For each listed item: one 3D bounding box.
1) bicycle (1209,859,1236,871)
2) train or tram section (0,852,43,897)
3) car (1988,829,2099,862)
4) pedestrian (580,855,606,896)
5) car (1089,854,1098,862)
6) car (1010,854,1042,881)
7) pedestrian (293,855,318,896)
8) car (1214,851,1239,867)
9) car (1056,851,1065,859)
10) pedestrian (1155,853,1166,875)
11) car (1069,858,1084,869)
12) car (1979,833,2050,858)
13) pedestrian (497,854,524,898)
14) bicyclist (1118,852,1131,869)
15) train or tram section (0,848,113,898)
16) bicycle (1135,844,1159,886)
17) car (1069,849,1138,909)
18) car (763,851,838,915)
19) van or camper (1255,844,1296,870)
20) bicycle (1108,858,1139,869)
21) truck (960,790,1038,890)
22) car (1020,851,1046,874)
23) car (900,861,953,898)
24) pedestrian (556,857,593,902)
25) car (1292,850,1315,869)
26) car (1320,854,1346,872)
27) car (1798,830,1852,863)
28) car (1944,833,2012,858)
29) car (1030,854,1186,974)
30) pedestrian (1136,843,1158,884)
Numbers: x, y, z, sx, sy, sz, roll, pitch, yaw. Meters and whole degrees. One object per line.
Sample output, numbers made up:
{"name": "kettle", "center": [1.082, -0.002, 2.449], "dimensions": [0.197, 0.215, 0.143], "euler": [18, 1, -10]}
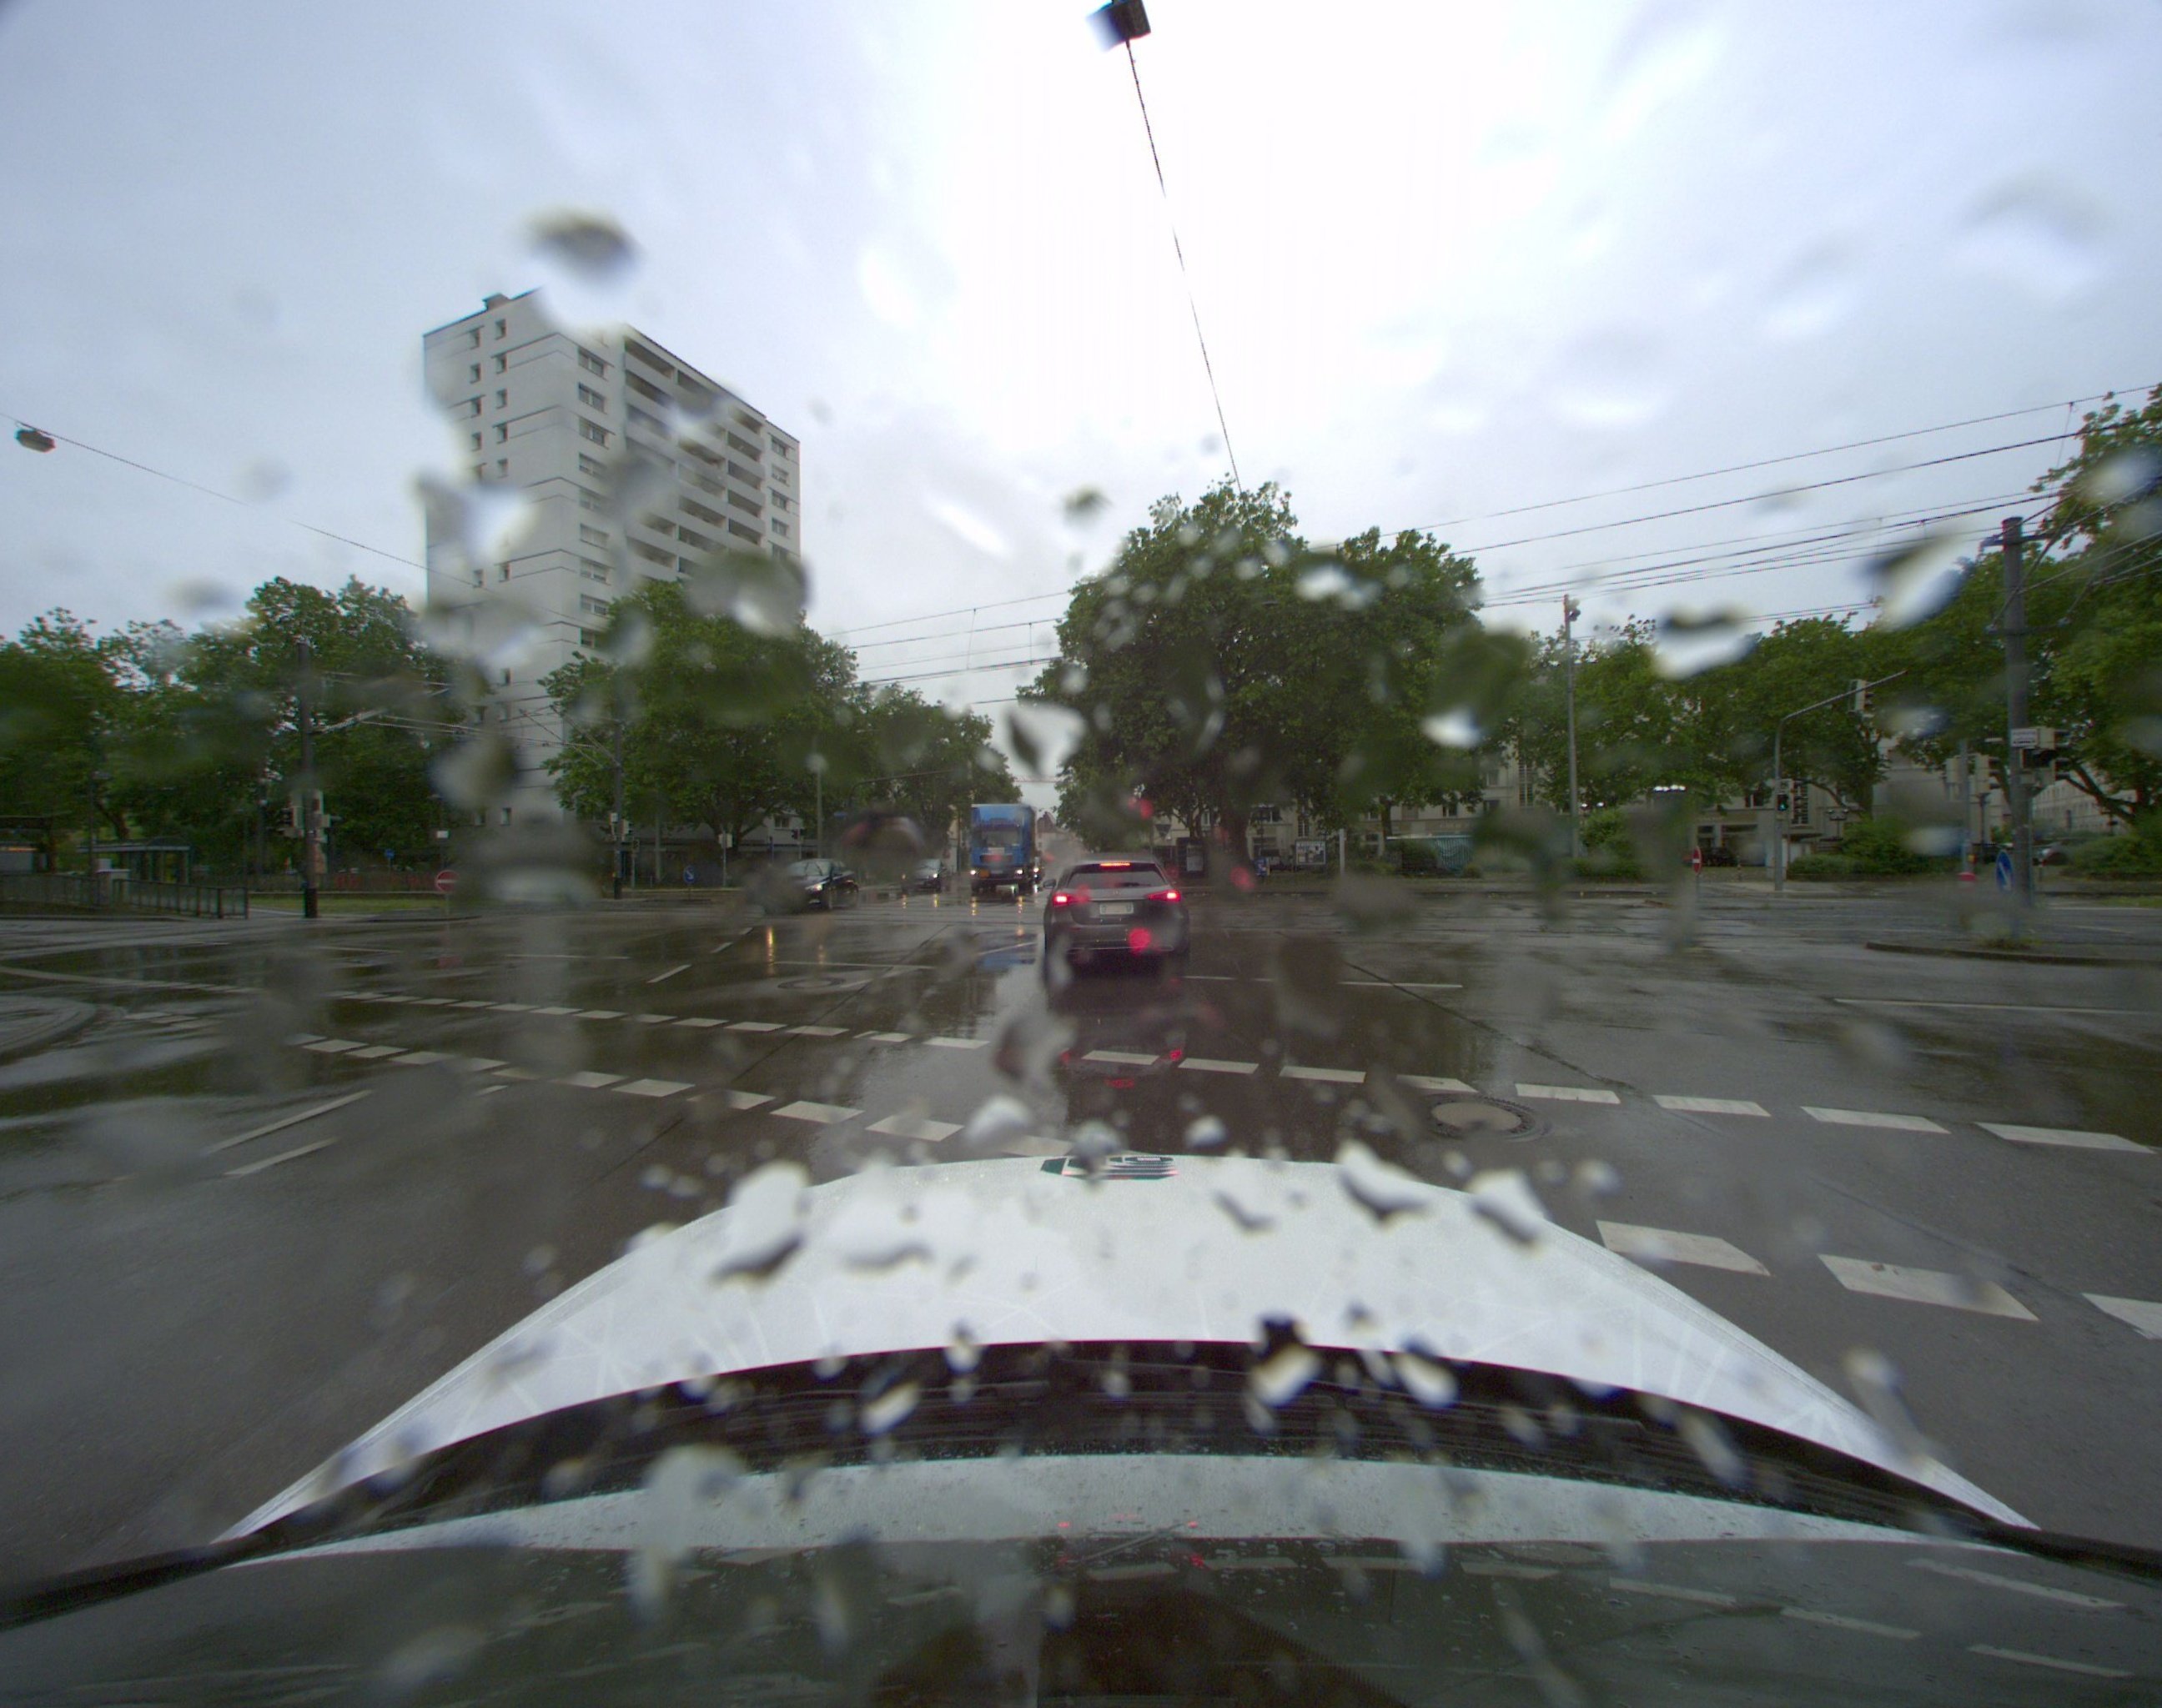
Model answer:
{"name": "bicycle", "center": [12.298, 0.954, 70.614], "dimensions": [2.227, 0.968, 0.588], "euler": [-1, -1, 21]}
{"name": "train or tram section", "center": [-87.972, 1.707, 65.084], "dimensions": [11.438, 3.504, 3.089], "euler": [-1, -1, 22]}
{"name": "car", "center": [51.233, -0.415, 43.469], "dimensions": [1.977, 1.618, 4.018], "euler": [-2, -1, 18]}
{"name": "pedestrian", "center": [-20.005, 0.881, 33.403], "dimensions": [0.819, 1.648, 0.787], "euler": [-2, -1, -27]}
{"name": "car", "center": [2.842, 0.911, 184.618], "dimensions": [2.038, 1.836, 4.795], "euler": [-1, -1, 3]}
{"name": "car", "center": [-3.446, 0.822, 51.731], "dimensions": [1.737, 1.604, 3.998], "euler": [-1, 0, -1]}
{"name": "pedestrian", "center": [-39.538, 1.104, 41.520], "dimensions": [0.694, 2.077, 0.640], "euler": [-1, 0, 17]}
{"name": "car", "center": [13.501, 0.452, 75.345], "dimensions": [1.568, 1.336, 3.279], "euler": [-2, -3, 23]}
{"name": "car", "center": [-4.833, 0.185, 191.975], "dimensions": [1.882, 1.836, 4.002], "euler": [-1, -1, 3]}
{"name": "pedestrian", "center": [6.301, 0.805, 64.593], "dimensions": [0.716, 1.669, 0.663], "euler": [-1, -1, -11]}
{"name": "car", "center": [-0.662, 1.355, 116.933], "dimensions": [1.989, 1.574, 3.996], "euler": [-1, -1, -2]}
{"name": "car", "center": [64.632, -0.564, 56.449], "dimensions": [1.695, 1.618, 4.022], "euler": [0, -1, 24]}
{"name": "pedestrian", "center": [-24.630, 0.936, 35.158], "dimensions": [0.671, 1.838, 0.643], "euler": [-2, -1, 21]}
{"name": "bicyclist", "center": [4.792, 0.738, 89.963], "dimensions": [0.941, 1.868, 1.135], "euler": [-1, -2, -20]}
{"name": "train or tram section", "center": [-77.364, 1.477, 60.814], "dimensions": [11.438, 3.504, 3.089], "euler": [-1, -1, 22]}
{"name": "bicycle", "center": [2.343, 0.380, 28.862], "dimensions": [0.745, 1.377, 2.711], "euler": [-2, 0, 6]}
{"name": "car", "center": [0.511, 0.610, 21.555], "dimensions": [1.603, 1.372, 3.998], "euler": [-2, 0, -1]}
{"name": "car", "center": [-7.675, 0.740, 22.347], "dimensions": [1.749, 1.546, 3.754], "euler": [-2, 0, -19]}
{"name": "van or camper", "center": [17.727, 0.305, 74.086], "dimensions": [2.374, 2.231, 5.462], "euler": [-2, -1, 26]}
{"name": "bicycle", "center": [4.677, 1.007, 89.951], "dimensions": [3.216, 1.112, 1.047], "euler": [-1, -2, -20]}
{"name": "truck", "center": [-3.653, -0.550, 38.754], "dimensions": [2.838, 4.025, 10.308], "euler": [-2, 0, -2]}
{"name": "car", "center": [-3.810, 0.639, 65.186], "dimensions": [1.741, 1.765, 4.002], "euler": [-1, 0, 2]}
{"name": "car", "center": [-7.072, 1.133, 37.641], "dimensions": [1.722, 1.546, 4.337], "euler": [-2, 0, -2]}
{"name": "pedestrian", "center": [-19.137, 0.946, 30.775], "dimensions": [0.829, 1.648, 0.759], "euler": [-2, 0, 14]}
{"name": "car", "center": [19.929, 0.492, 72.859], "dimensions": [1.665, 1.575, 3.754], "euler": [-1, -1, 19]}
{"name": "car", "center": [22.528, 0.807, 72.733], "dimensions": [1.664, 1.432, 3.756], "euler": [-2, -3, 25]}
{"name": "car", "center": [53.704, -0.480, 58.887], "dimensions": [1.535, 2.204, 4.120], "euler": [-2, -3, 23]}
{"name": "car", "center": [61.646, -0.537, 56.038], "dimensions": [1.695, 1.618, 4.022], "euler": [0, -1, 24]}
{"name": "car", "center": [0.277, 0.691, 11.085], "dimensions": [1.786, 1.372, 3.505], "euler": [0, 0, -1]}
{"name": "pedestrian", "center": [2.356, 0.330, 28.981], "dimensions": [0.740, 1.398, 1.048], "euler": [-2, 0, 5]}
